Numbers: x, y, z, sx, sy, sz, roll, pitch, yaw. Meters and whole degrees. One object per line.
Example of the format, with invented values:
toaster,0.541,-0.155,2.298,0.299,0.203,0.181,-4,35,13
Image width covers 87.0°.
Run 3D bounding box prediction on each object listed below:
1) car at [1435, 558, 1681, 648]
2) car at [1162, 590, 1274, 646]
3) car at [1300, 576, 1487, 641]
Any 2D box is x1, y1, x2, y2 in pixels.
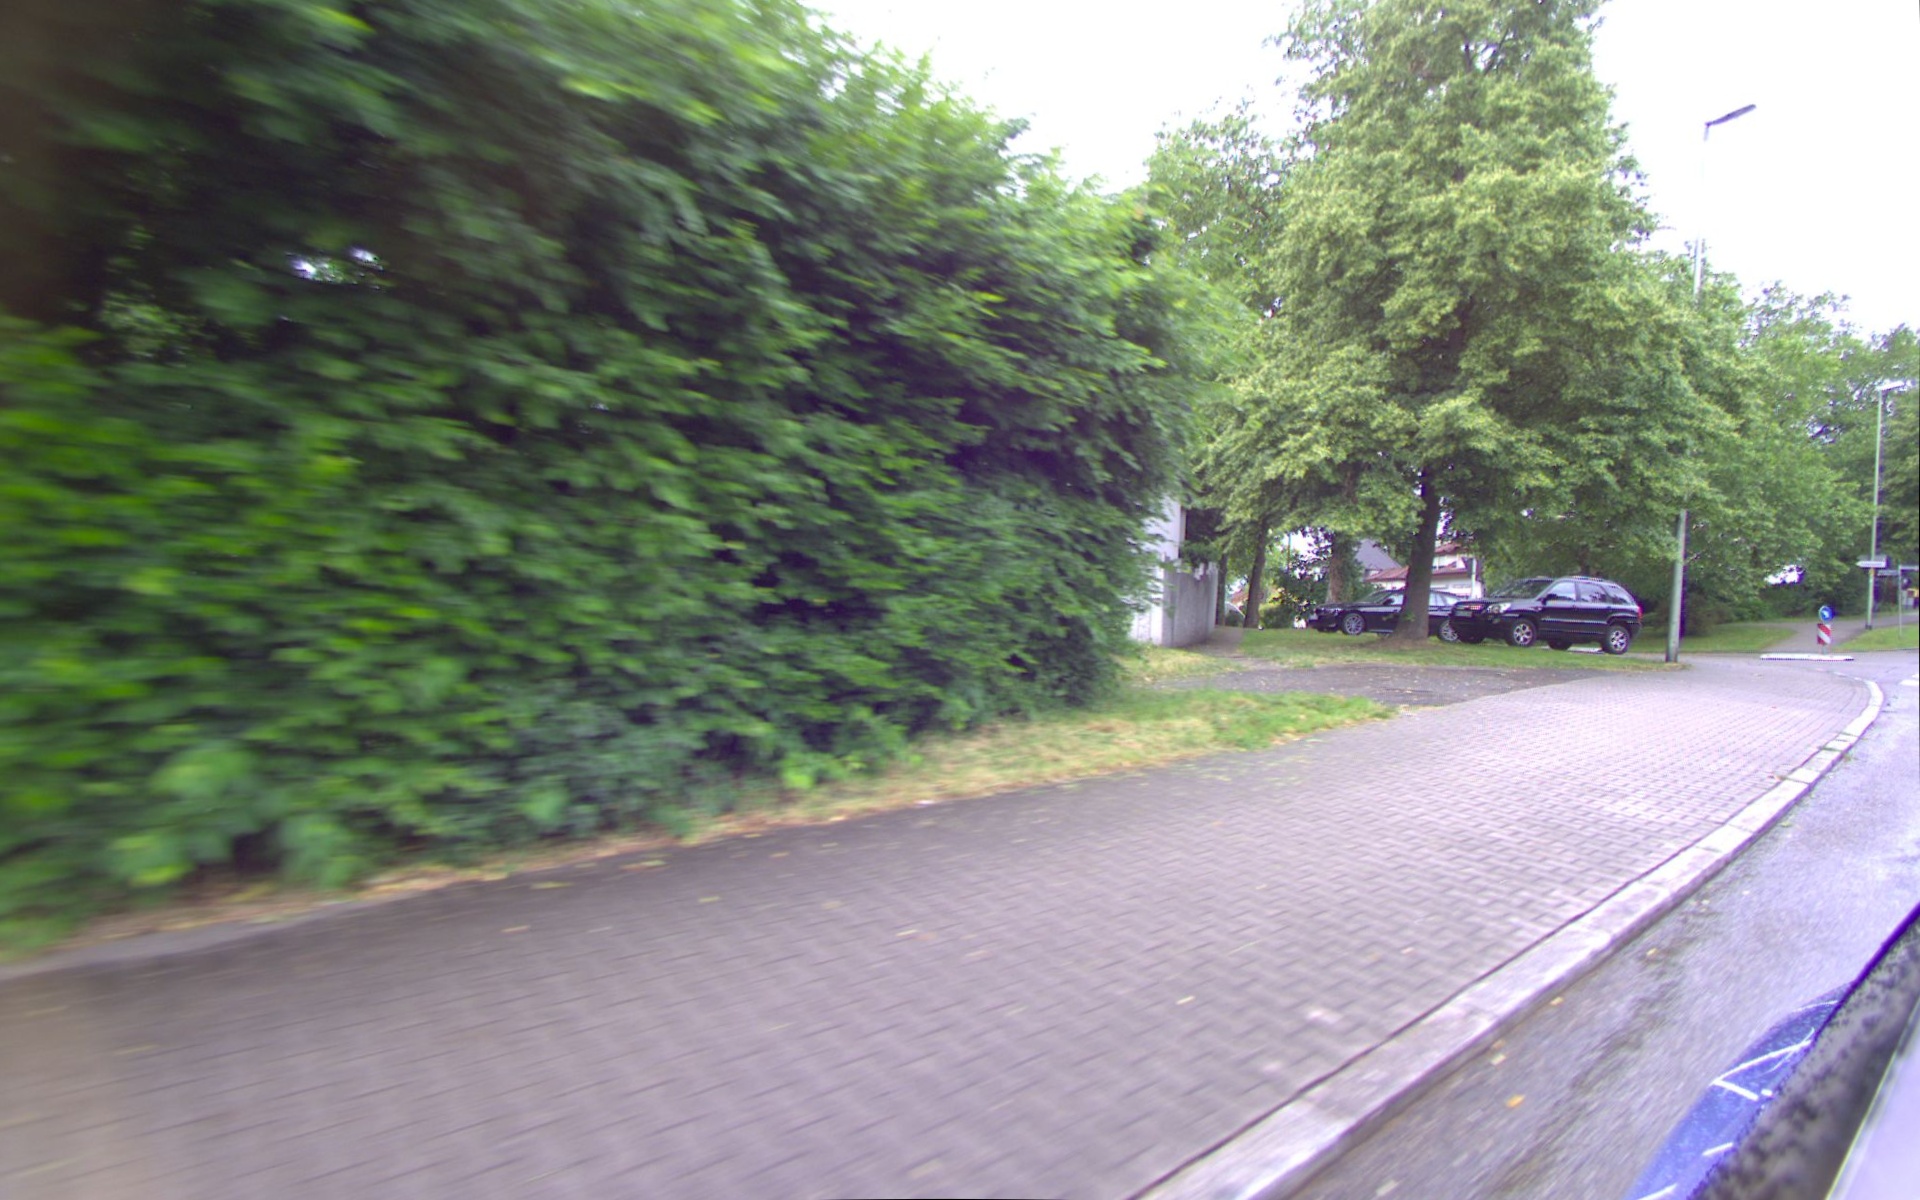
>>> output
car,13.815,0.079,23.463,4.800,1.711,1.957,4,-1,-13
car,15.445,1.043,60.830,6.045,2.707,2.353,5,0,7
car,12.217,0.232,28.681,4.476,1.488,1.758,4,-1,-4
